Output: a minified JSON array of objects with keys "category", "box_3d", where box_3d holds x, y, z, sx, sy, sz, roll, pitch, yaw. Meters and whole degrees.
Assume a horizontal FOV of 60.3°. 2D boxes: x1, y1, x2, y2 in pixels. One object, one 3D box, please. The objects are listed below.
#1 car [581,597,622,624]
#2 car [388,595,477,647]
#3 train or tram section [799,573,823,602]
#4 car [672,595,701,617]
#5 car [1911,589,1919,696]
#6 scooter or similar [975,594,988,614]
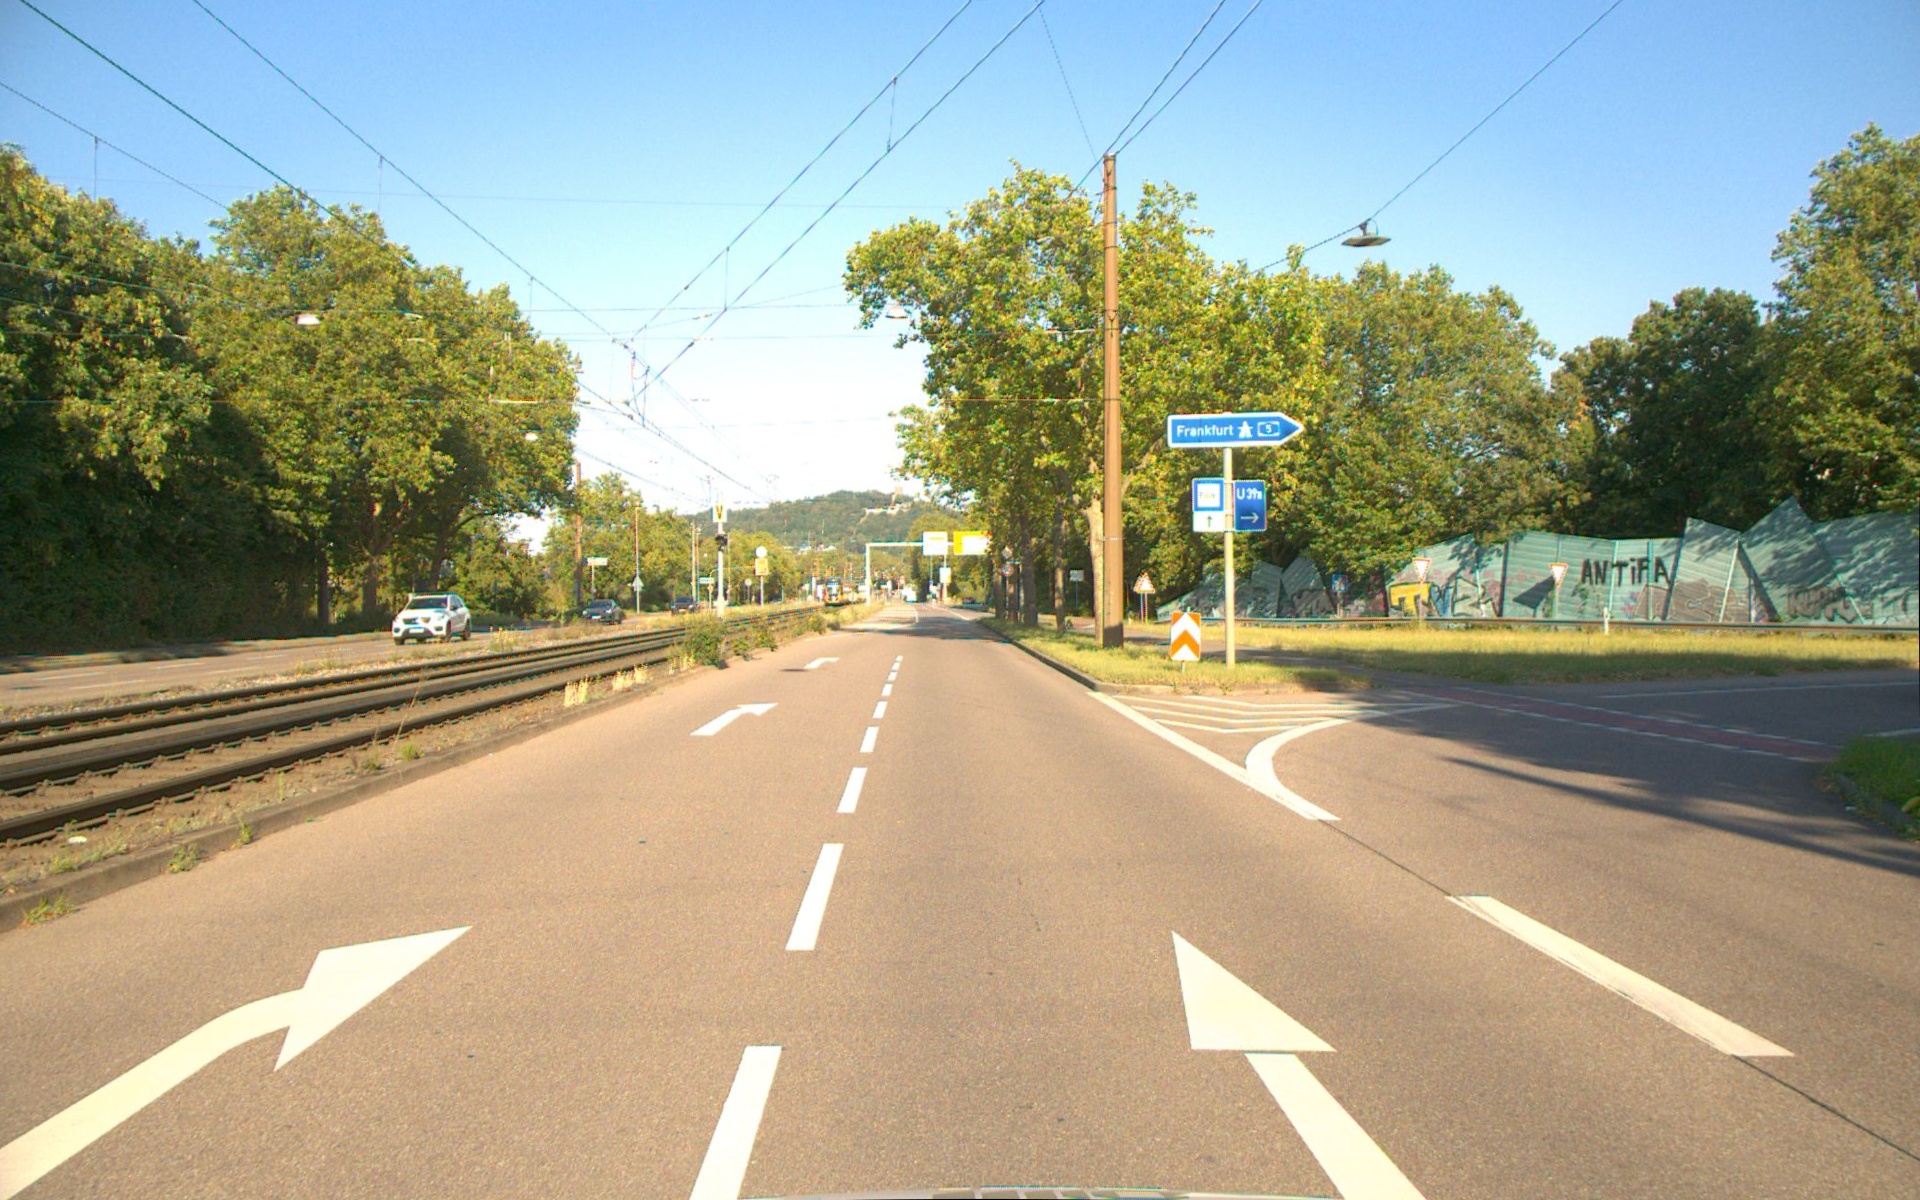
[{"category":"car","box_3d":[-21.538,0.613,99.504,1.677,1.493,4.344,-3,0,-3]},{"category":"car","box_3d":[-19.325,0.740,60.833,1.924,1.737,4.940,-2,0,-4]},{"category":"train or tram section","box_3d":[-20.779,-1.664,230.807,2.748,3.971,12.325,1,0,-3]},{"category":"car","box_3d":[-22.854,0.497,138.349,1.861,1.724,4.937,-2,0,-4]},{"category":"car","box_3d":[18.174,0.734,27.806,3.792,1.804,1.804,1,0,-20]},{"category":"scooter or similar","box_3d":[3.079,0.523,235.006,1.647,2.763,4.867,0,0,-2]}]
